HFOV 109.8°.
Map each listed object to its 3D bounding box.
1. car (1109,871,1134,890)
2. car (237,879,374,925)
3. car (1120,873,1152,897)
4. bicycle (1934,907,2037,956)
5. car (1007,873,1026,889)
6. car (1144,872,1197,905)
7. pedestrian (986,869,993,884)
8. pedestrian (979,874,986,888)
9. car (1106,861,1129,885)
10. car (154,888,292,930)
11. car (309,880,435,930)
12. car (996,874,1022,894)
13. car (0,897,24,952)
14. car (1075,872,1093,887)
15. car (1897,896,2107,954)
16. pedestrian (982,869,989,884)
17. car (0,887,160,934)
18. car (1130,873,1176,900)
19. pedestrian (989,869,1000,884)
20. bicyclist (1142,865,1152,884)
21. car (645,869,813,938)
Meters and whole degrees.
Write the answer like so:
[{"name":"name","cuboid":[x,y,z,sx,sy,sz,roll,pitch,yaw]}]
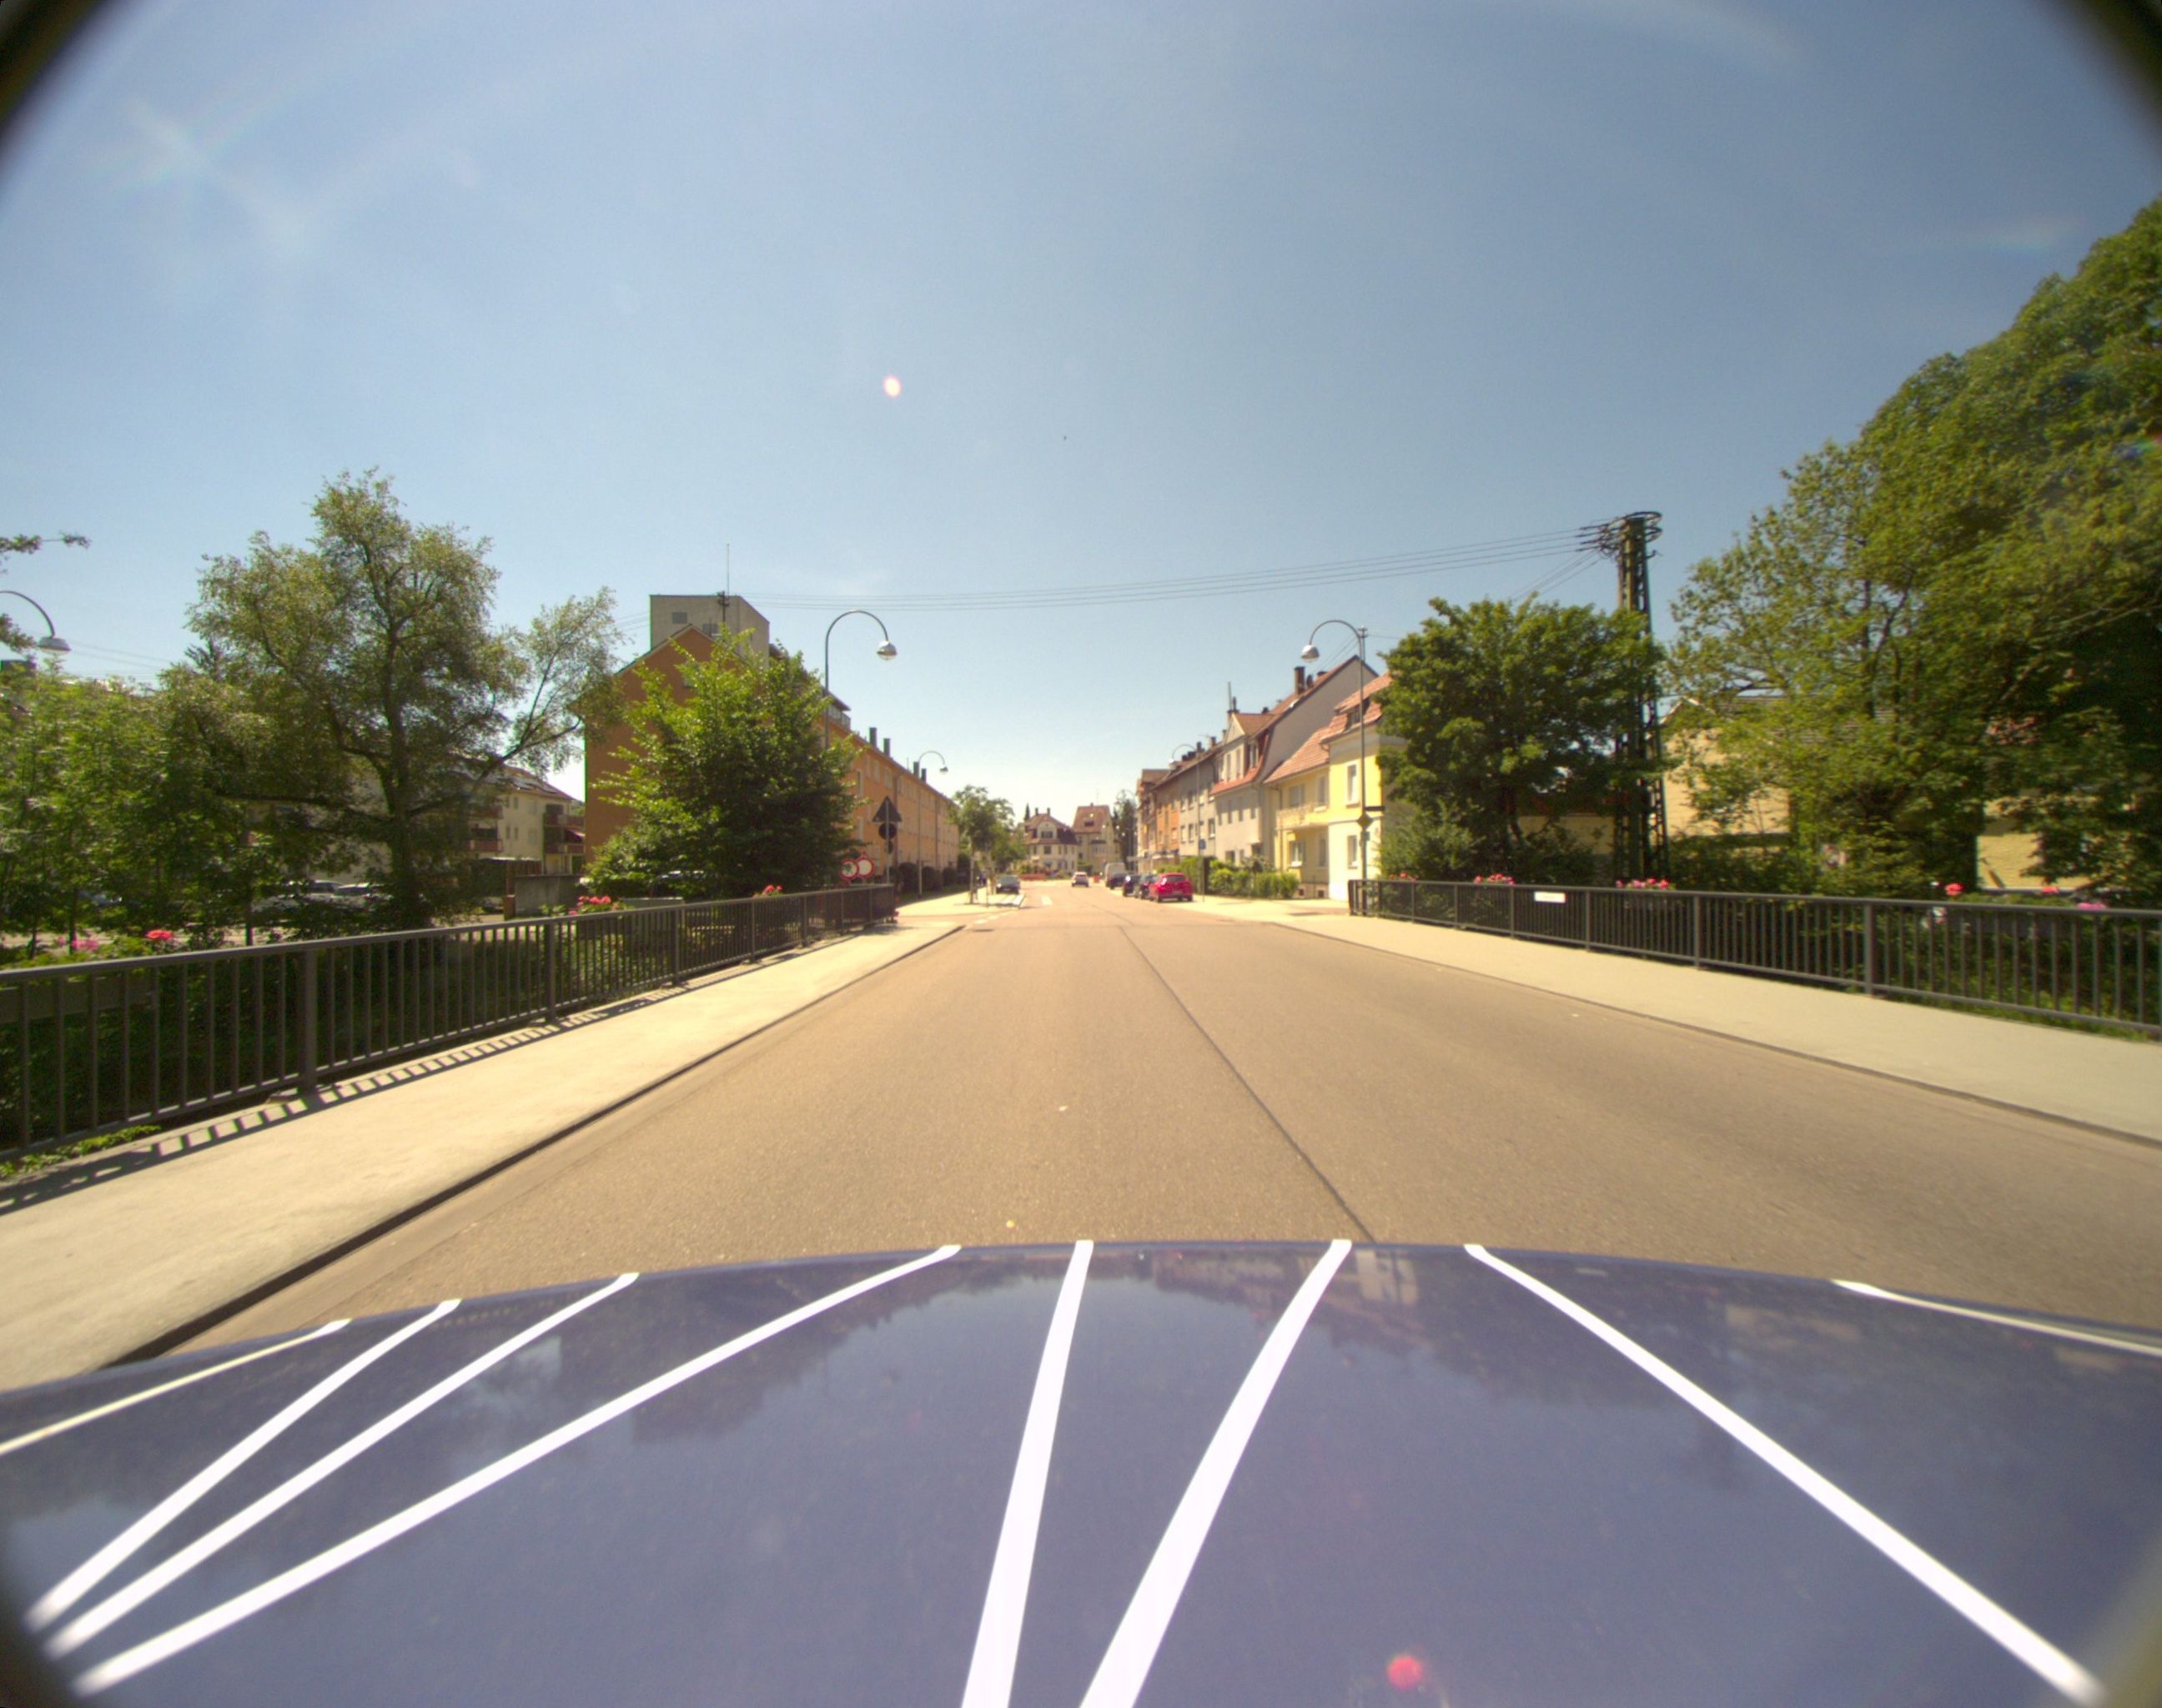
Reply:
[{"name":"car","cuboid":[3.905,2.489,72.300,2.089,1.604,5.112,-2,-1,6]},{"name":"car","cuboid":[-30.572,1.831,30.139,2.001,1.619,3.996,0,-1,-14]},{"name":"car","cuboid":[3.692,2.061,51.511,1.792,1.450,4.199,-3,-2,1]},{"name":"bicycle","cuboid":[25.042,2.134,21.063,1.887,1.234,0.560,1,0,11]},{"name":"car","cuboid":[-6.644,2.751,78.057,1.819,1.468,4.504,1,0,-7]},{"name":"car","cuboid":[4.596,1.751,39.670,1.883,1.470,4.737,-3,-1,-3]},{"name":"pedestrian","cuboid":[-10.873,2.661,89.975,0.823,1.842,0.984,0,-1,-7]},{"name":"pedestrian","cuboid":[-12.086,3.296,93.339,0.796,1.768,1.008,0,-1,-7]},{"name":"car","cuboid":[3.930,2.061,83.461,2.124,2.434,6.118,-2,-1,0]},{"name":"car","cuboid":[-33.320,2.096,29.664,1.620,1.412,3.916,0,-1,-14]},{"name":"car","cuboid":[-28.498,1.995,30.731,2.001,1.772,3.996,0,-1,-14]},{"name":"car","cuboid":[-5.766,2.349,61.178,1.839,1.495,5.063,1,-1,-3]},{"name":"car","cuboid":[-30.410,1.891,19.057,4.514,1.415,1.758,-1,1,-11]},{"name":"car","cuboid":[0.281,2.770,82.937,1.882,1.587,4.360,1,-1,-1]},{"name":"car","cuboid":[27.108,2.063,22.461,3.999,1.468,1.999,1,0,-4]},{"name":"pedestrian","cuboid":[-11.676,2.775,93.124,0.790,1.800,1.005,2,-1,-7]},{"name":"car","cuboid":[-38.260,2.082,28.975,2.001,1.554,3.996,0,-1,-14]},{"name":"car","cuboid":[4.223,1.907,45.483,1.868,1.452,5.307,-2,-2,-4]},{"name":"pedestrian","cuboid":[-10.635,2.777,93.356,1.175,1.722,1.190,2,0,-8]},{"name":"bicyclist","cuboid":[5.972,1.851,69.028,0.784,1.649,0.835,0,-1,-5]},{"name":"car","cuboid":[-10.713,1.469,23.425,4.352,1.828,1.748,-2,0,-11]}]
